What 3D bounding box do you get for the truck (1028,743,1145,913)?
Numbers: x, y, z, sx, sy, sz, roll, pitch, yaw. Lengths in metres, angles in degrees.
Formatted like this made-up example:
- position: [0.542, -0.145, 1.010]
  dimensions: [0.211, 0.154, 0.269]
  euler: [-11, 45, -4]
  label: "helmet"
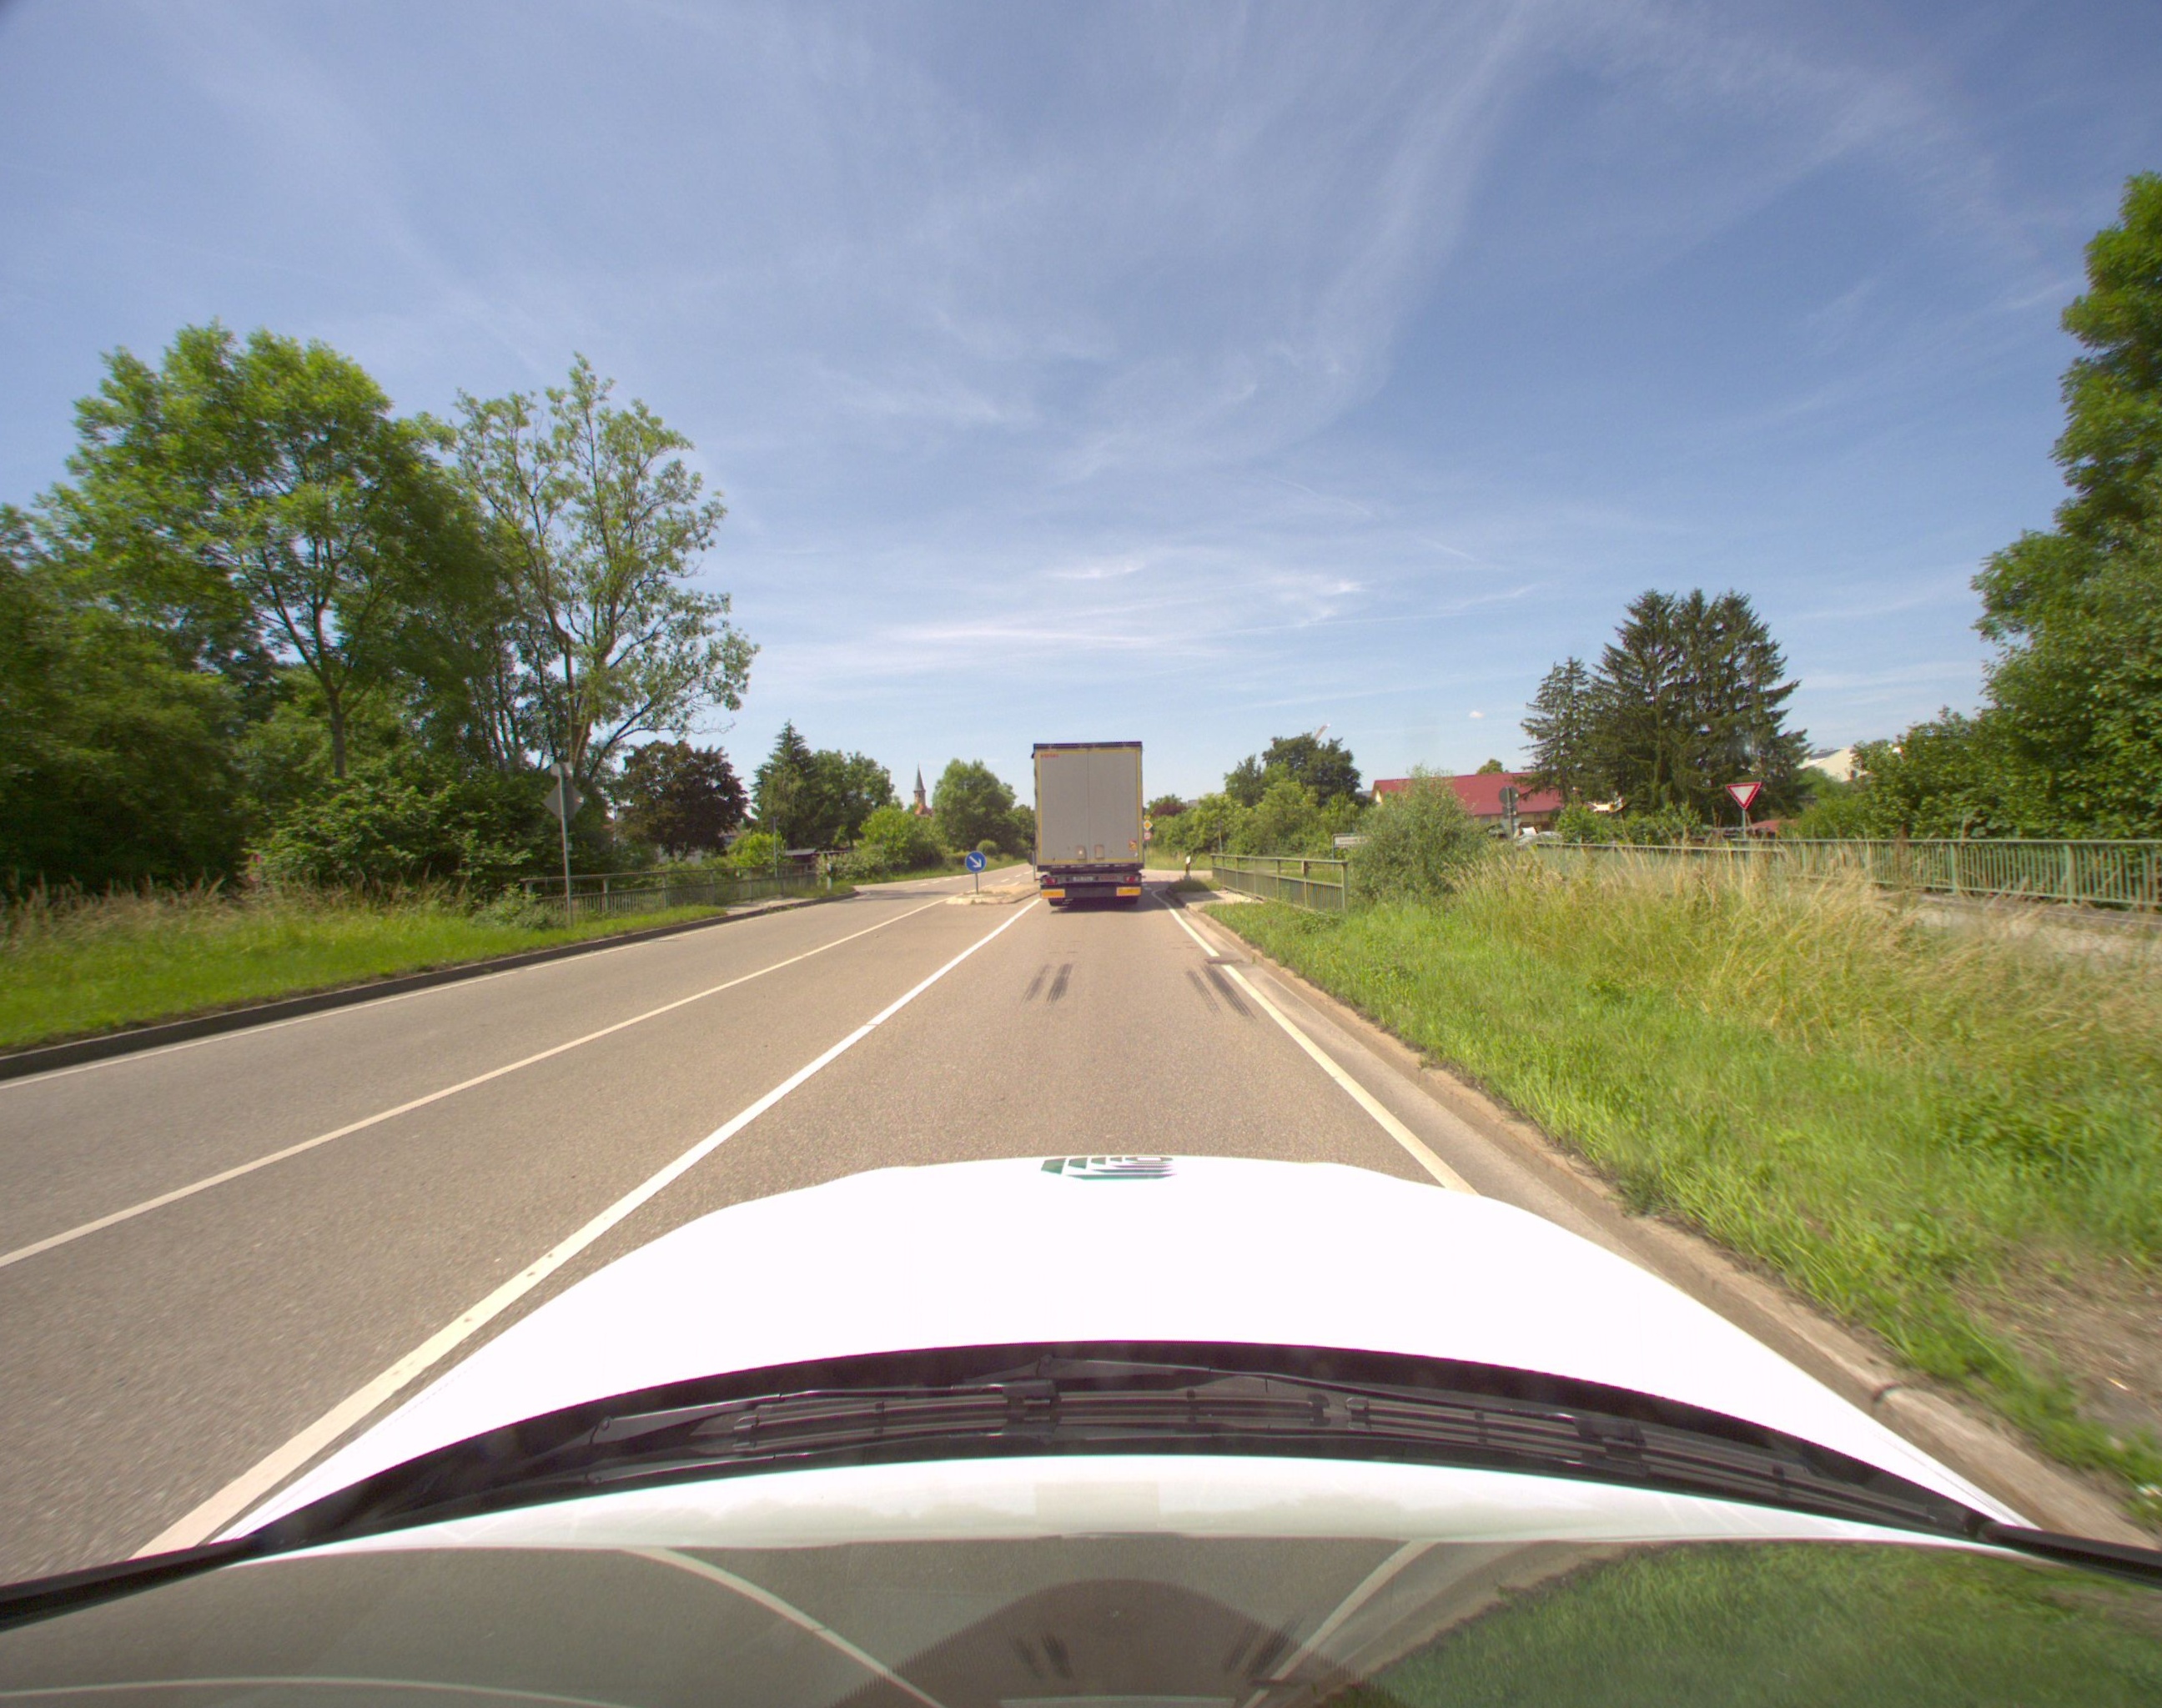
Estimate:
- position: [0.141, -0.673, 23.449]
  dimensions: [2.639, 3.916, 8.825]
  euler: [-1, 1, 0]
  label: "truck"
